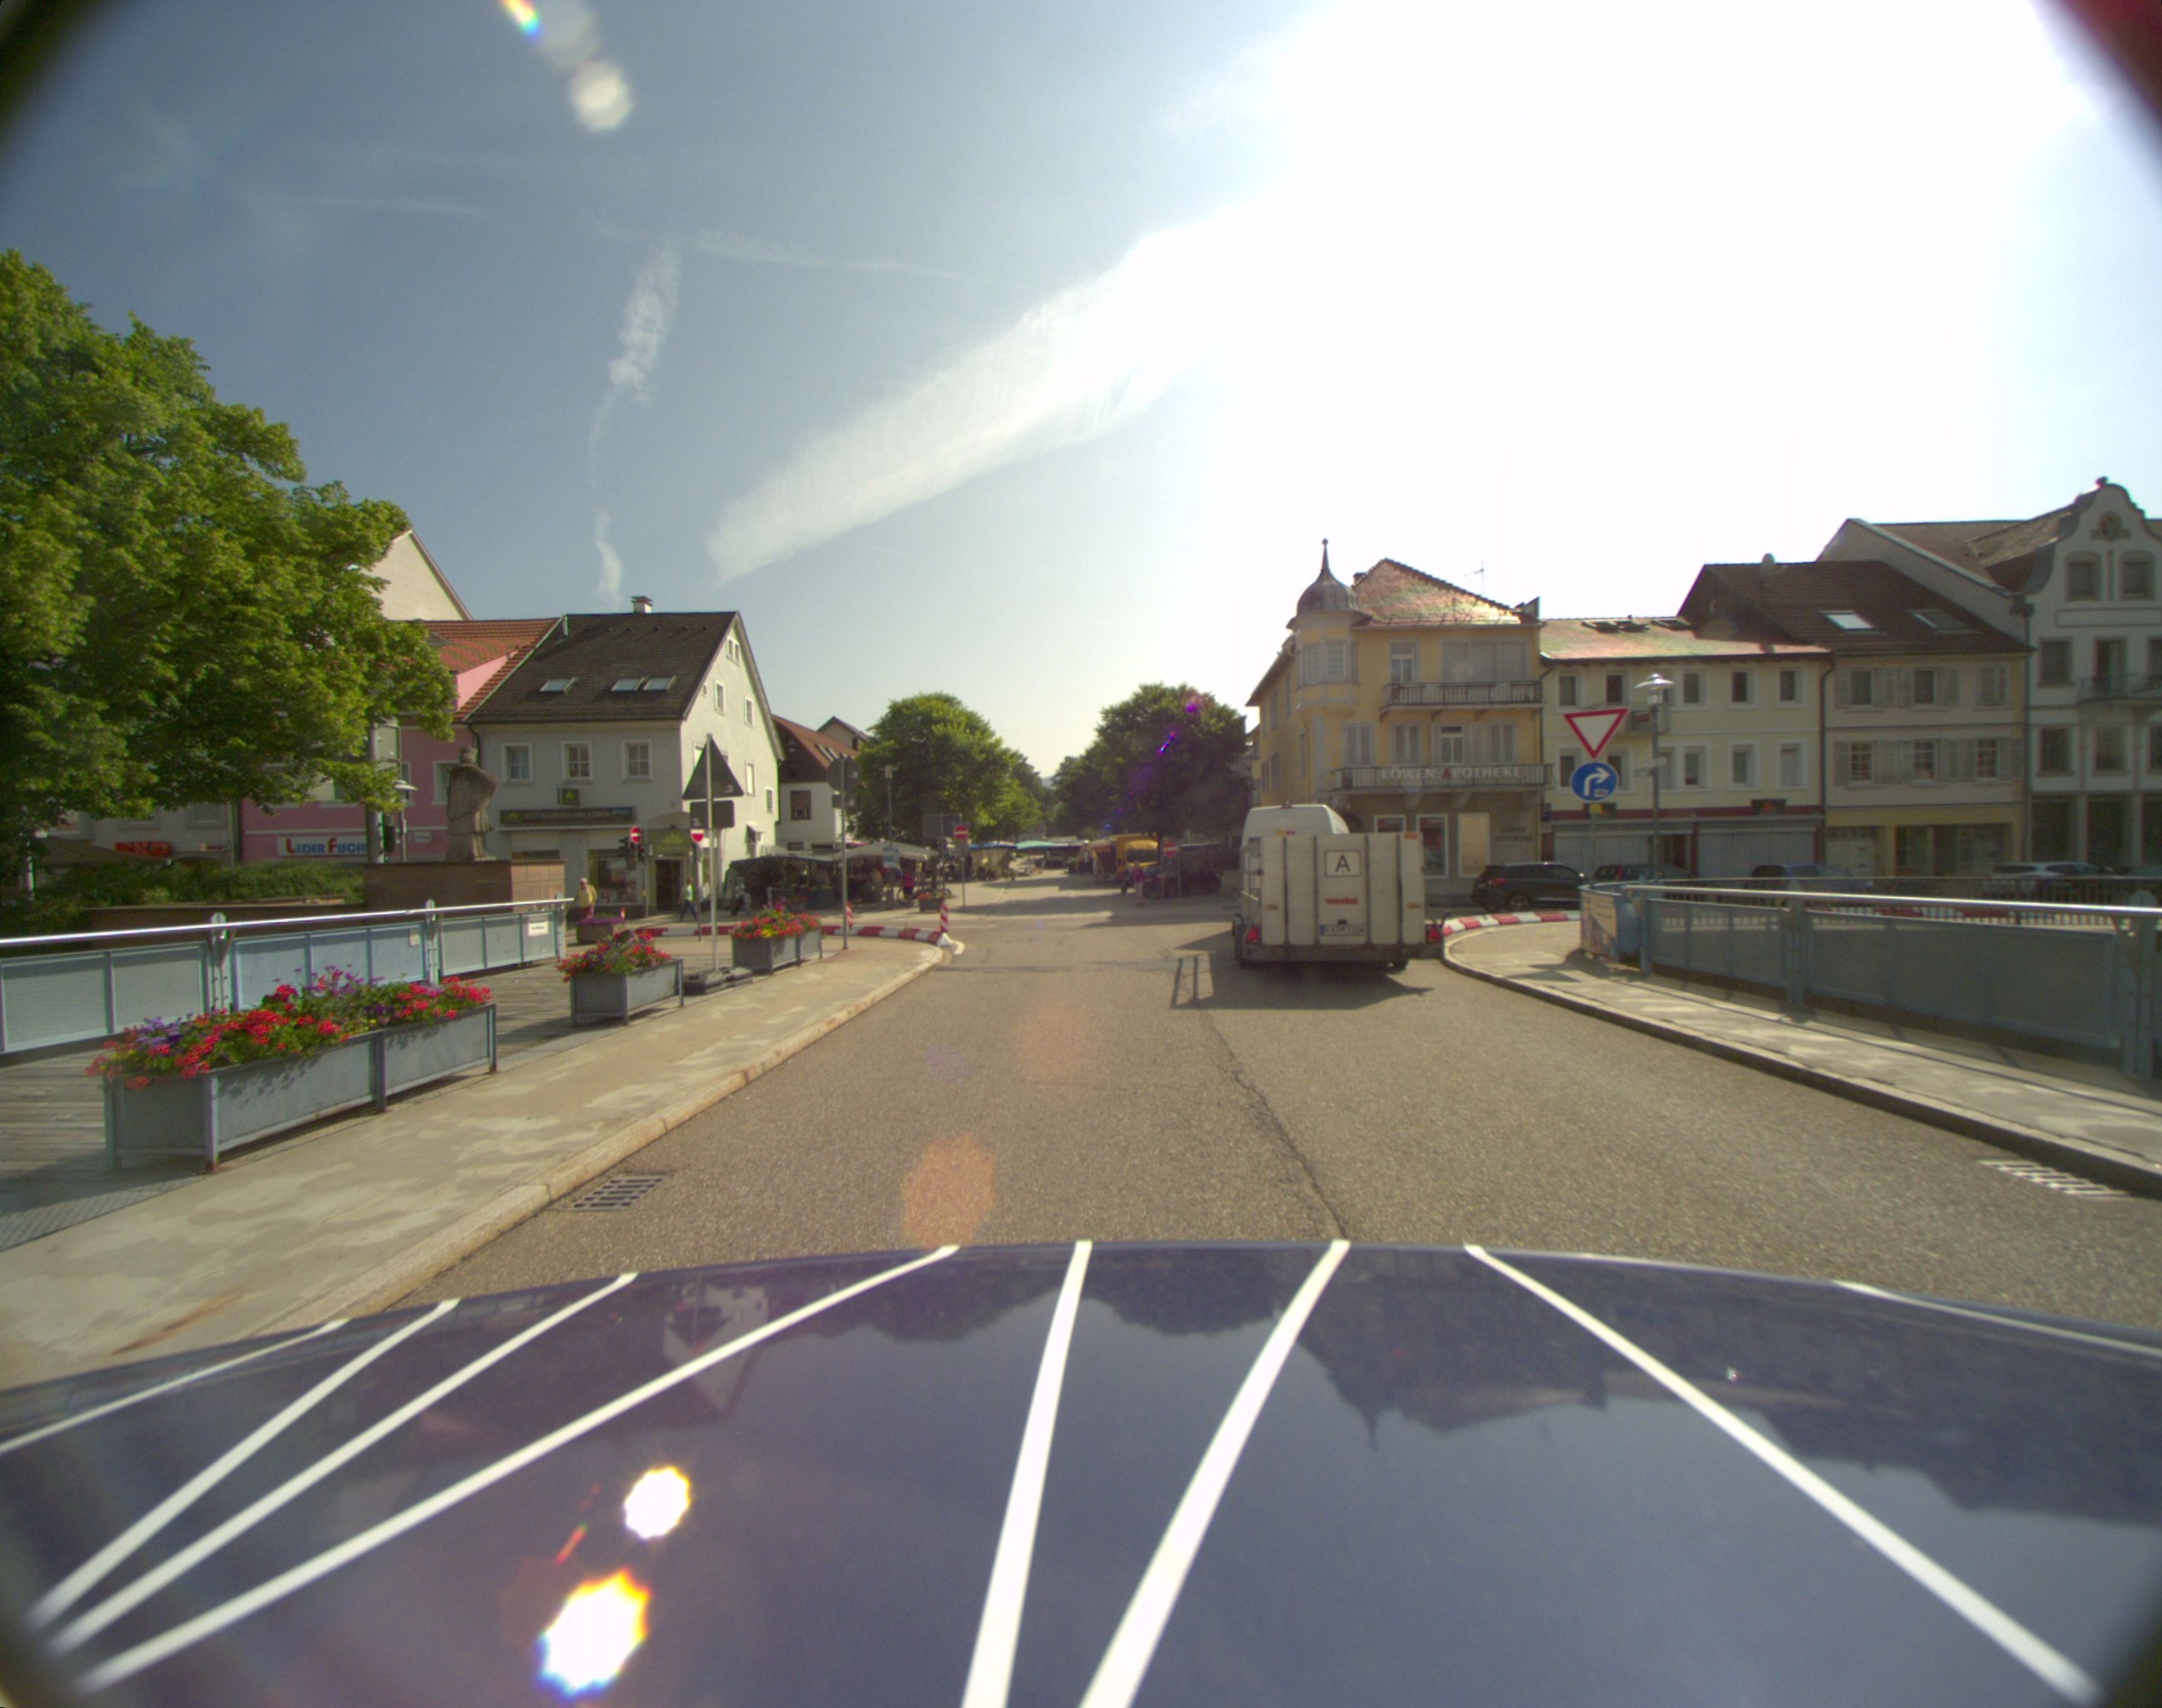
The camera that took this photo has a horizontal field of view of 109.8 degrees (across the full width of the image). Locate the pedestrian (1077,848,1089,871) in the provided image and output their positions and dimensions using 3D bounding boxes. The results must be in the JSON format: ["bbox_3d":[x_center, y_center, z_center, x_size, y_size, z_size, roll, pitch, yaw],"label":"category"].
[{"bbox_3d":[0.162,0.425,56.326,0.682,1.672,0.582,-4,1,-15],"label":"pedestrian"}]

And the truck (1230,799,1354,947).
[{"bbox_3d":[5.093,0.434,17.444,2.107,2.682,7.145,-1,-2,20],"label":"truck"}]

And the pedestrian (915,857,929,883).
[{"bbox_3d":[-9.764,0.991,46.684,0.698,1.544,0.572,1,2,7],"label":"pedestrian"}]

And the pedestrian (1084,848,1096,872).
[{"bbox_3d":[0.652,0.435,55.784,0.682,1.672,0.582,-4,3,-16],"label":"pedestrian"}]

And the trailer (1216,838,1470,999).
[{"bbox_3d":[3.483,0.767,11.531,2.615,1.817,5.642,-1,0,8],"label":"trailer"}]

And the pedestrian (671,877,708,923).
[{"bbox_3d":[-14.426,1.687,28.036,0.858,1.623,0.788,-2,3,2],"label":"pedestrian"}]

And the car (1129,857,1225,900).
[{"bbox_3d":[4.251,1.018,33.443,3.965,1.534,1.918,-4,3,-38],"label":"car"}]

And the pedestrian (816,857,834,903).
[{"bbox_3d":[-11.200,1.139,33.248,0.708,1.973,0.651,-1,1,-20],"label":"pedestrian"}]

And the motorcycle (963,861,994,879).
[{"bbox_3d":[-6.905,1.077,51.250,2.001,1.189,0.644,1,1,14],"label":"motorcycle"}]

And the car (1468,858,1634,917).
[{"bbox_3d":[14.209,0.988,23.114,3.967,1.552,1.684,-2,0,1],"label":"car"}]

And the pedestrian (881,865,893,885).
[{"bbox_3d":[-12.096,1.291,47.407,0.572,1.194,0.650,1,2,2],"label":"pedestrian"}]

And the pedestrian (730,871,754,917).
[{"bbox_3d":[-13.122,1.534,29.445,0.789,1.714,0.706,-1,1,-21],"label":"pedestrian"}]

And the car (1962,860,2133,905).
[{"bbox_3d":[33.565,0.962,26.455,3.792,1.439,1.753,-1,0,-1],"label":"car"}]

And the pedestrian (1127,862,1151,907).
[{"bbox_3d":[2.271,1.172,29.680,0.678,1.705,0.618,-1,2,31],"label":"pedestrian"}]

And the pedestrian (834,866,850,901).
[{"bbox_3d":[-11.368,1.386,36.177,0.522,1.617,0.707,-1,0,-4],"label":"pedestrian"}]

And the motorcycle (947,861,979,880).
[{"bbox_3d":[-7.841,1.126,50.665,2.001,1.189,0.644,1,2,14],"label":"motorcycle"}]

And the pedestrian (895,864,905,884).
[{"bbox_3d":[-11.136,1.233,46.731,0.572,1.194,0.650,1,2,-10],"label":"pedestrian"}]

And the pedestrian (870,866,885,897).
[{"bbox_3d":[-10.160,1.384,37.898,0.622,1.509,0.632,-1,1,-10],"label":"pedestrian"}]

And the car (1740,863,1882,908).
[{"bbox_3d":[25.353,1.065,26.470,3.274,1.439,1.753,-1,0,-1],"label":"car"}]

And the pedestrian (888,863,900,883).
[{"bbox_3d":[-11.902,1.203,48.309,0.572,1.194,0.650,1,2,2],"label":"pedestrian"}]

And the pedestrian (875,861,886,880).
[{"bbox_3d":[-13.150,1.069,49.846,0.572,1.194,0.650,1,2,2],"label":"pedestrian"}]

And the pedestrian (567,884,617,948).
[{"bbox_3d":[-15.334,1.936,23.847,0.908,1.806,1.019,-3,6,-13],"label":"pedestrian"}]

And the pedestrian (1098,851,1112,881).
[{"bbox_3d":[1.447,0.711,45.402,0.681,1.777,0.726,-4,2,-4],"label":"pedestrian"}]

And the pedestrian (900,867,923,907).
[{"bbox_3d":[-7.205,1.379,32.285,0.884,1.649,0.571,0,2,-19],"label":"pedestrian"}]

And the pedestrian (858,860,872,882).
[{"bbox_3d":[-13.397,1.060,47.043,0.626,1.323,0.699,1,2,4],"label":"pedestrian"}]

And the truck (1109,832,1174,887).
[{"bbox_3d":[3.321,0.162,44.057,3.008,2.742,8.858,-2,2,0],"label":"truck"}]

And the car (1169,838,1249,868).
[{"bbox_3d":[8.774,-0.056,52.234,5.071,1.880,1.999,-1,0,-4],"label":"car"}]

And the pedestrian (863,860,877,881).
[{"bbox_3d":[-13.336,1.039,47.966,0.626,1.323,0.699,1,2,4],"label":"pedestrian"}]

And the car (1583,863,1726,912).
[{"bbox_3d":[19.821,1.124,26.385,3.565,1.559,1.852,-1,0,-1],"label":"car"}]

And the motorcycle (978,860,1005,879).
[{"bbox_3d":[-6.159,1.051,52.152,1.999,1.189,0.645,2,1,42],"label":"motorcycle"}]

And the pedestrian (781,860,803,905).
[{"bbox_3d":[-12.672,1.247,33.327,0.507,1.959,0.708,-1,1,27],"label":"pedestrian"}]

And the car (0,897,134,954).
[{"bbox_3d":[-37.194,2.552,27.206,4.143,1.730,1.711,-2,2,-2],"label":"car"}]

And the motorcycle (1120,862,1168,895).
[{"bbox_3d":[2.958,1.148,35.891,2.086,1.353,0.888,-4,1,-1],"label":"motorcycle"}]

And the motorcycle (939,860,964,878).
[{"bbox_3d":[-8.814,1.044,51.738,1.531,1.189,0.643,1,1,0],"label":"motorcycle"}]

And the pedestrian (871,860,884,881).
[{"bbox_3d":[-13.084,1.057,48.925,0.626,1.323,0.699,1,2,4],"label":"pedestrian"}]

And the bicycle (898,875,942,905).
[{"bbox_3d":[-7.105,1.565,33.499,1.863,1.228,0.616,-2,1,-13],"label":"bicycle"}]

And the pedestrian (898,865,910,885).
[{"bbox_3d":[-10.664,1.268,45.686,0.700,1.194,0.571,0,2,-13],"label":"pedestrian"}]

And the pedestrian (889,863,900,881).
[{"bbox_3d":[-12.207,1.179,49.745,0.572,1.194,0.650,1,2,2],"label":"pedestrian"}]

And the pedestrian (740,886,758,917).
[{"bbox_3d":[-12.717,1.808,29.104,0.623,1.153,0.515,-1,1,-25],"label":"pedestrian"}]

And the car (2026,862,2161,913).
[{"bbox_3d":[31.777,0.988,23.039,4.198,1.348,1.756,-2,0,-3],"label":"car"}]
